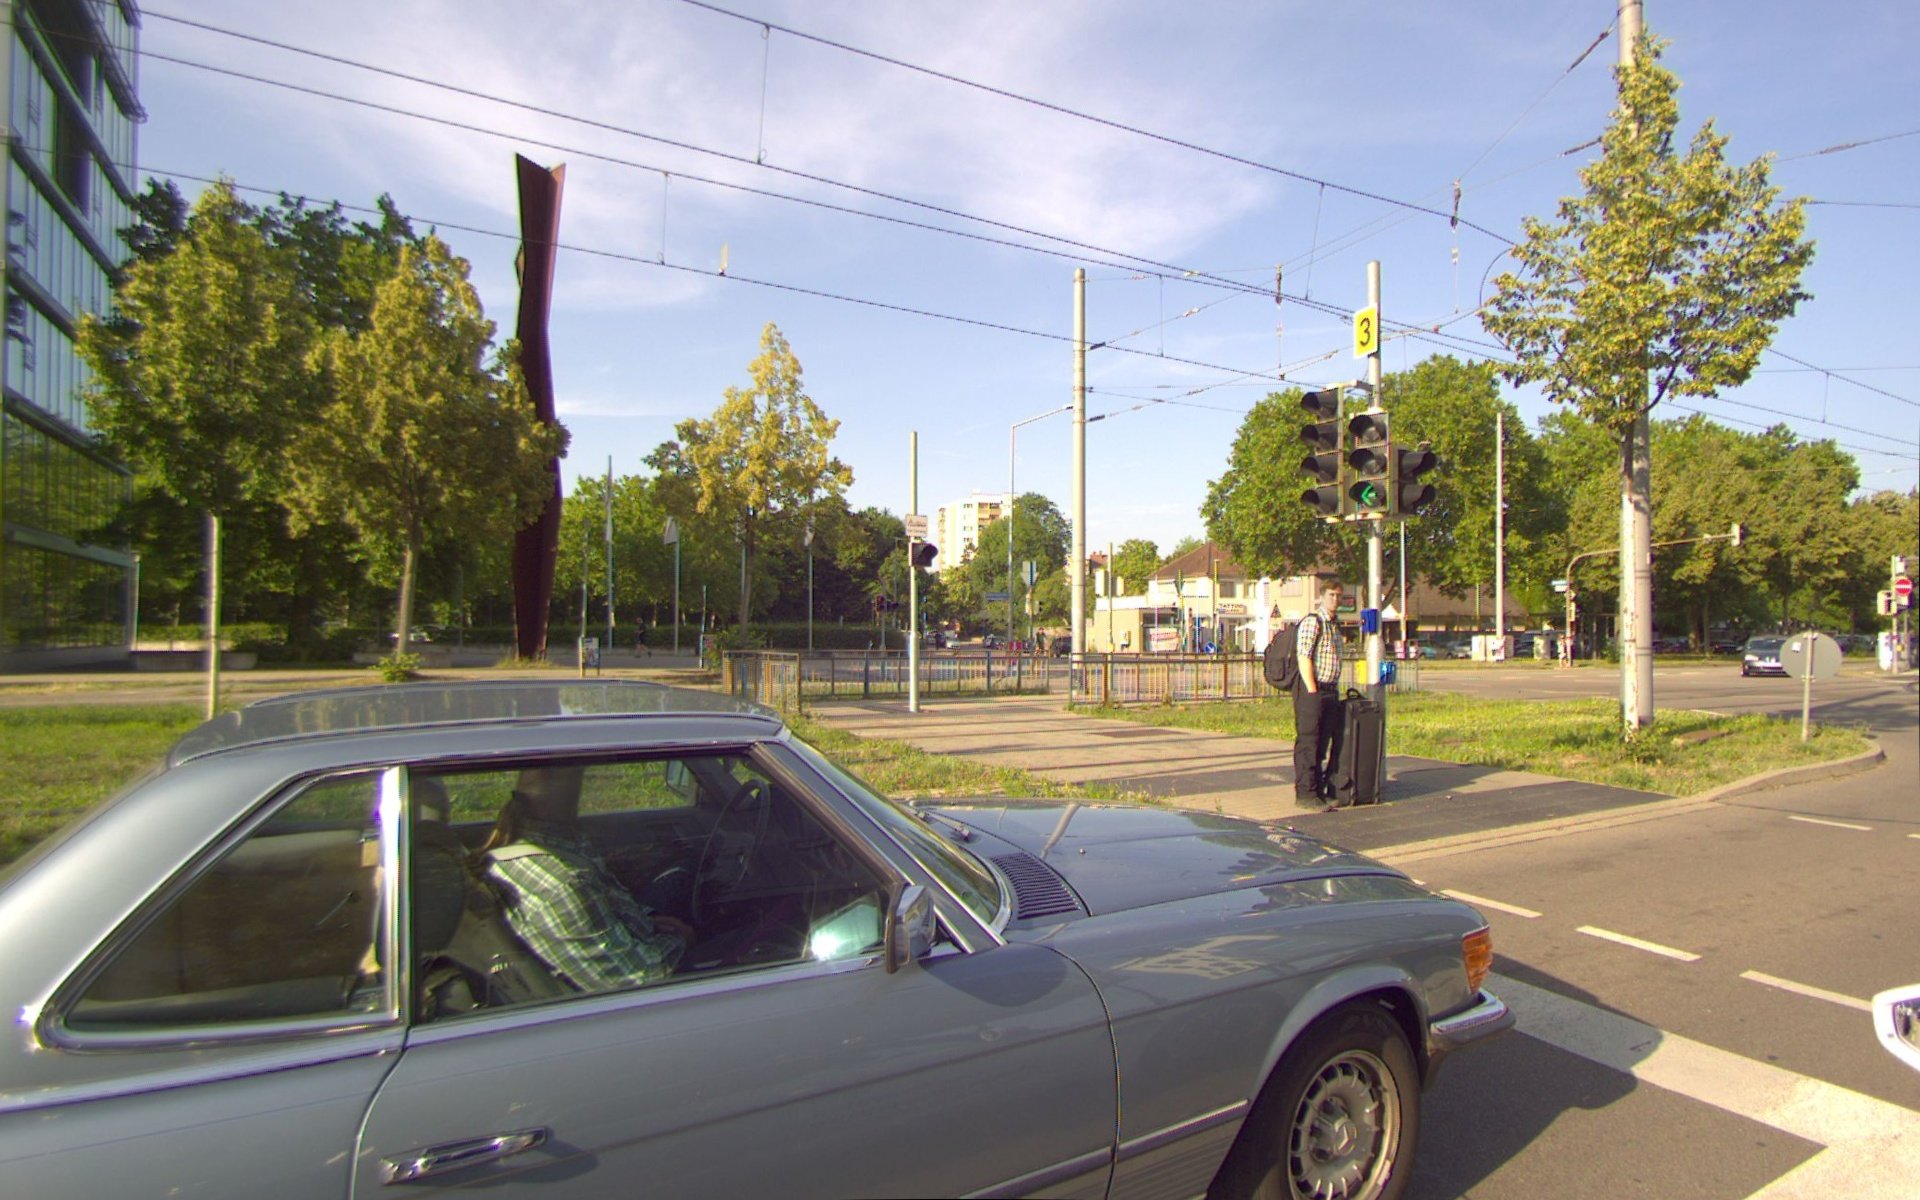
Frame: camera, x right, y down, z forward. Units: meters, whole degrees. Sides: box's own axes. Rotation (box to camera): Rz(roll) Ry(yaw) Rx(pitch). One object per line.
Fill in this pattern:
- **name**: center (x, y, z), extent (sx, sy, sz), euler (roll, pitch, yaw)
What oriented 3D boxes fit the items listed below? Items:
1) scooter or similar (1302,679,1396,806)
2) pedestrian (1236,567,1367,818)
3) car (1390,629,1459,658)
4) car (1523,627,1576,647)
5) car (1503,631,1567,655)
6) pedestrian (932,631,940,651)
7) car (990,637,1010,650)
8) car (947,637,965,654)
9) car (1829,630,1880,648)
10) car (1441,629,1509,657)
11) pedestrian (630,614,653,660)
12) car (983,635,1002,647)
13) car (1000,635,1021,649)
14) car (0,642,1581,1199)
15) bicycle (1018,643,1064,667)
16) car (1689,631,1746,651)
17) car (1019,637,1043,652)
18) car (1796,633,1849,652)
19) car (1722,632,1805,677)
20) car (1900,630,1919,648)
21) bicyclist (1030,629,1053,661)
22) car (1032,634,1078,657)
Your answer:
- **scooter or similar**: center (3.082, 1.109, 7.968), extent (0.424, 0.919, 0.546), euler (1, 0, -29)
- **pedestrian**: center (2.615, 0.674, 7.716), extent (0.628, 1.816, 0.696), euler (1, 0, -29)
- **car**: center (29.208, 2.711, 63.130), extent (3.945, 1.773, 1.876), euler (1, -2, -25)
- **car**: center (47.870, 3.037, 81.572), extent (3.945, 1.580, 1.876), euler (1, -2, -25)
- **car**: center (38.819, 2.926, 67.820), extent (3.945, 1.580, 1.876), euler (1, -2, -25)
- **pedestrian**: center (-2.063, 3.514, 86.112), extent (0.654, 1.654, 0.664), euler (0, -1, -2)
- **car**: center (4.664, 5.092, 117.653), extent (1.667, 1.491, 3.941), euler (0, -2, -8)
- **car**: center (-0.426, 5.122, 113.623), extent (1.961, 1.806, 4.000), euler (0, -2, -1)
- **car**: center (76.687, 3.348, 86.089), extent (3.945, 1.580, 1.876), euler (1, -2, -25)
- **car**: center (33.432, 2.763, 65.206), extent (3.945, 1.773, 1.876), euler (1, -2, -25)
- **pedestrian**: center (-15.026, 1.762, 47.392), extent (0.864, 2.135, 0.724), euler (-1, -3, -1)
- **car**: center (3.957, 5.050, 123.442), extent (1.667, 1.491, 3.941), euler (0, -2, -8)
- **car**: center (5.578, 4.688, 111.824), extent (1.667, 1.491, 3.941), euler (0, -2, -8)
- **car**: center (-0.649, 0.832, 2.308), extent (4.349, 1.348, 1.755), euler (1, 0, -31)
- **bicycle**: center (3.846, 2.607, 47.727), extent (2.168, 1.055, 0.697), euler (-1, -2, 38)
- **car**: center (58.618, 3.168, 77.725), extent (3.945, 1.580, 1.876), euler (1, -2, -25)
- **car**: center (7.051, 4.442, 100.311), extent (1.667, 1.491, 3.941), euler (0, -2, -8)
- **car**: center (72.115, 3.550, 83.979), extent (3.945, 1.580, 1.876), euler (1, -2, -25)
- **car**: center (28.725, 1.903, 36.034), extent (1.704, 1.481, 4.564), euler (-2, -2, 31)
- **car**: center (87.799, 3.575, 91.466), extent (3.945, 1.580, 1.876), euler (1, -2, -25)
- **bicyclist**: center (3.861, 2.139, 47.730), extent (0.836, 1.512, 0.697), euler (-1, -2, 38)
- **car**: center (7.451, 3.549, 79.239), extent (1.971, 1.750, 3.979), euler (1, -2, -22)
